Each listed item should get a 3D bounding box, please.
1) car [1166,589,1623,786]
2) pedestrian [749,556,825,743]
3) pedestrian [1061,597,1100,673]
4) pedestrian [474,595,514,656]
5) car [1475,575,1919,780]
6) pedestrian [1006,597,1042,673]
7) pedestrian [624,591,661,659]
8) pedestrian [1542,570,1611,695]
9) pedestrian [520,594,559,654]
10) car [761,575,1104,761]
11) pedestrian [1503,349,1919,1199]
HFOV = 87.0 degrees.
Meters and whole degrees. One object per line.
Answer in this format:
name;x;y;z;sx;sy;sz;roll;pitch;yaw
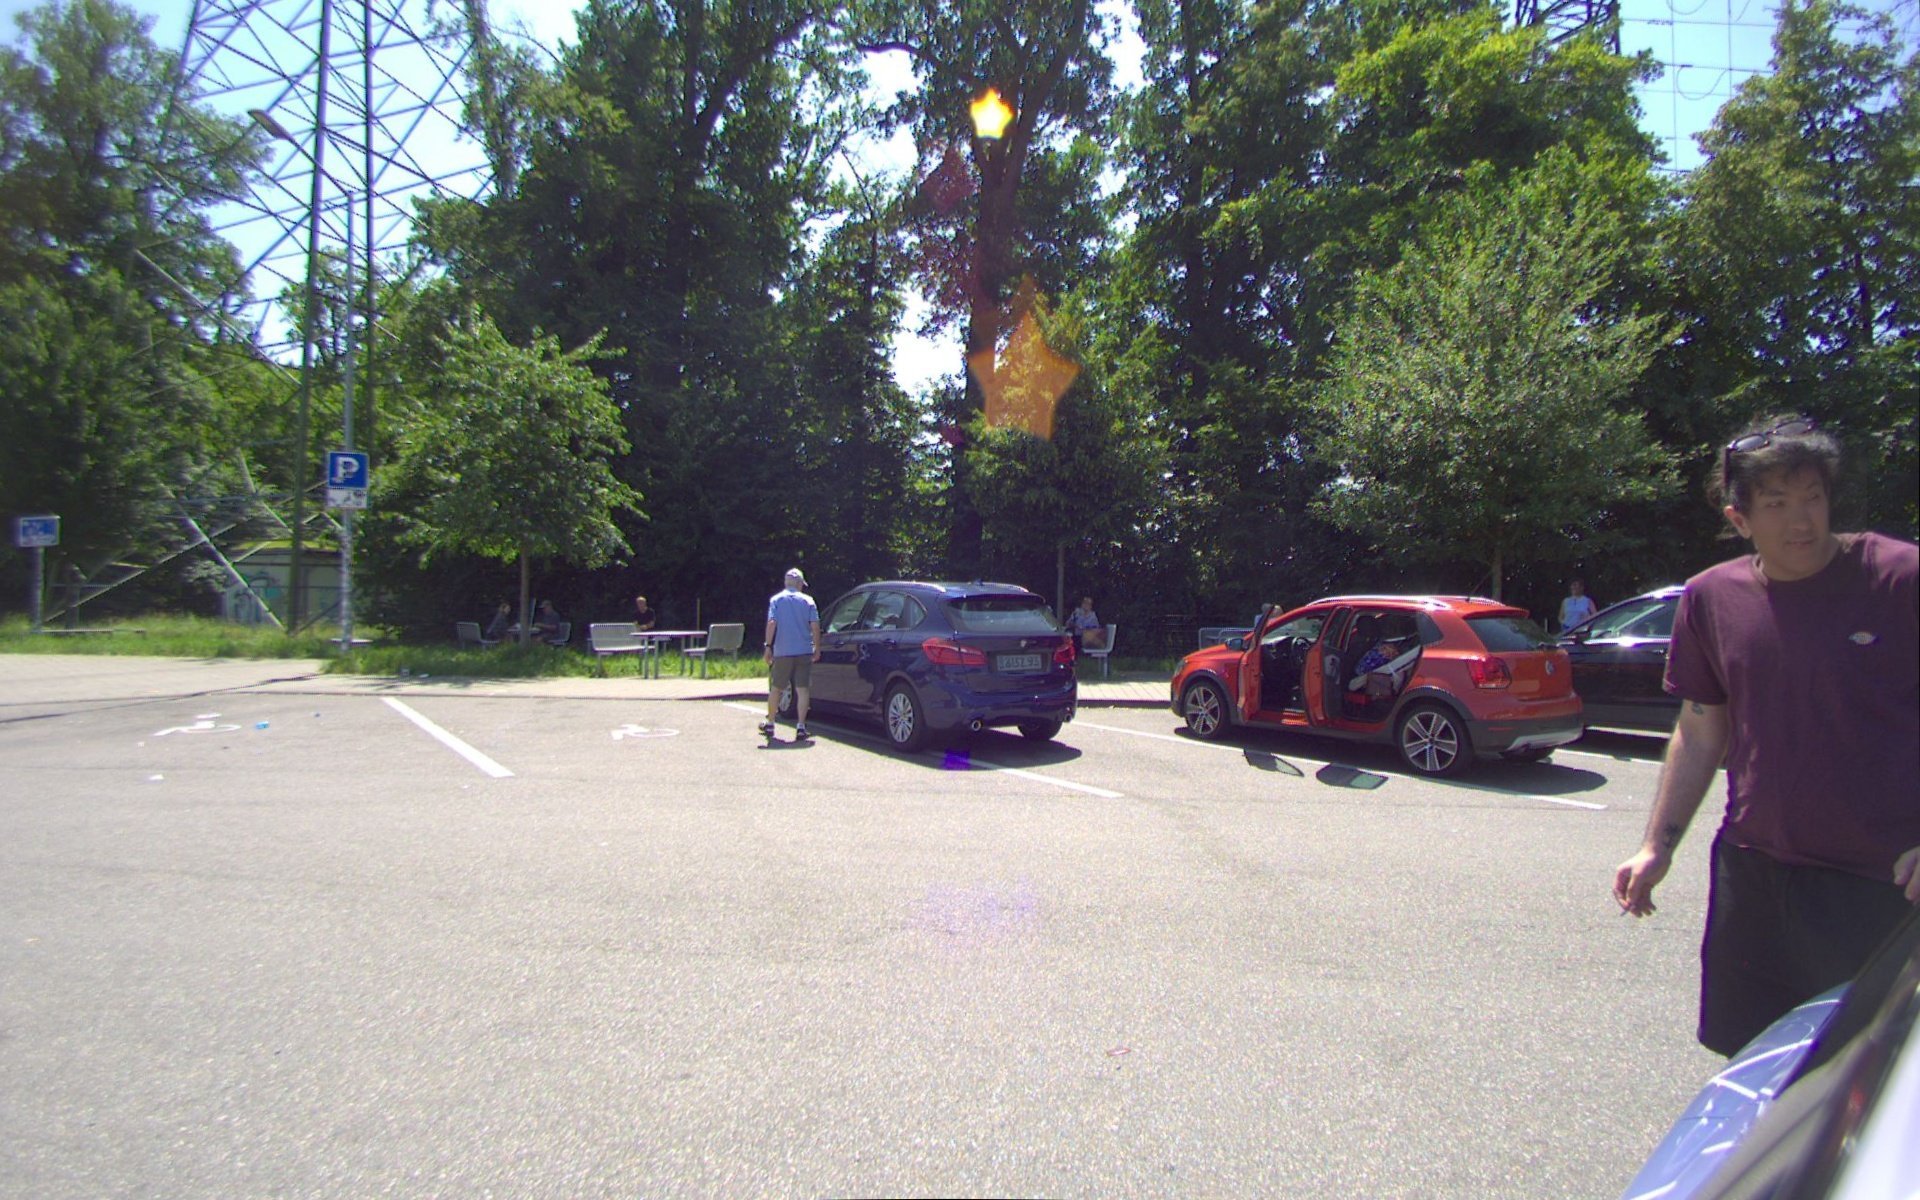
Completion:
car;3.859;0.643;9.581;1.559;1.467;3.737;1;0;-33
pedestrian;-1.721;0.465;10.006;0.662;1.754;0.835;0;0;-15
pedestrian;2.021;0.579;17.003;0.576;1.251;0.697;0;-1;1
pedestrian;-10.512;0.554;22.828;0.687;1.352;0.563;0;0;-40
car;7.224;0.593;9.696;1.707;1.607;3.732;1;0;-39
pedestrian;1.073;0.583;17.069;0.576;1.251;0.697;0;-1;1
pedestrian;-6.683;0.520;21.305;0.553;1.408;0.700;0;0;2
pedestrian;9.359;0.480;15.382;0.754;1.854;0.518;0;0;14
pedestrian;-9.755;0.544;23.467;0.687;1.352;0.563;0;0;-40
car;-0.478;0.556;10.654;1.776;1.562;3.940;1;0;-34
pedestrian;1.670;0.543;1.937;0.850;1.857;0.859;0;0;8
